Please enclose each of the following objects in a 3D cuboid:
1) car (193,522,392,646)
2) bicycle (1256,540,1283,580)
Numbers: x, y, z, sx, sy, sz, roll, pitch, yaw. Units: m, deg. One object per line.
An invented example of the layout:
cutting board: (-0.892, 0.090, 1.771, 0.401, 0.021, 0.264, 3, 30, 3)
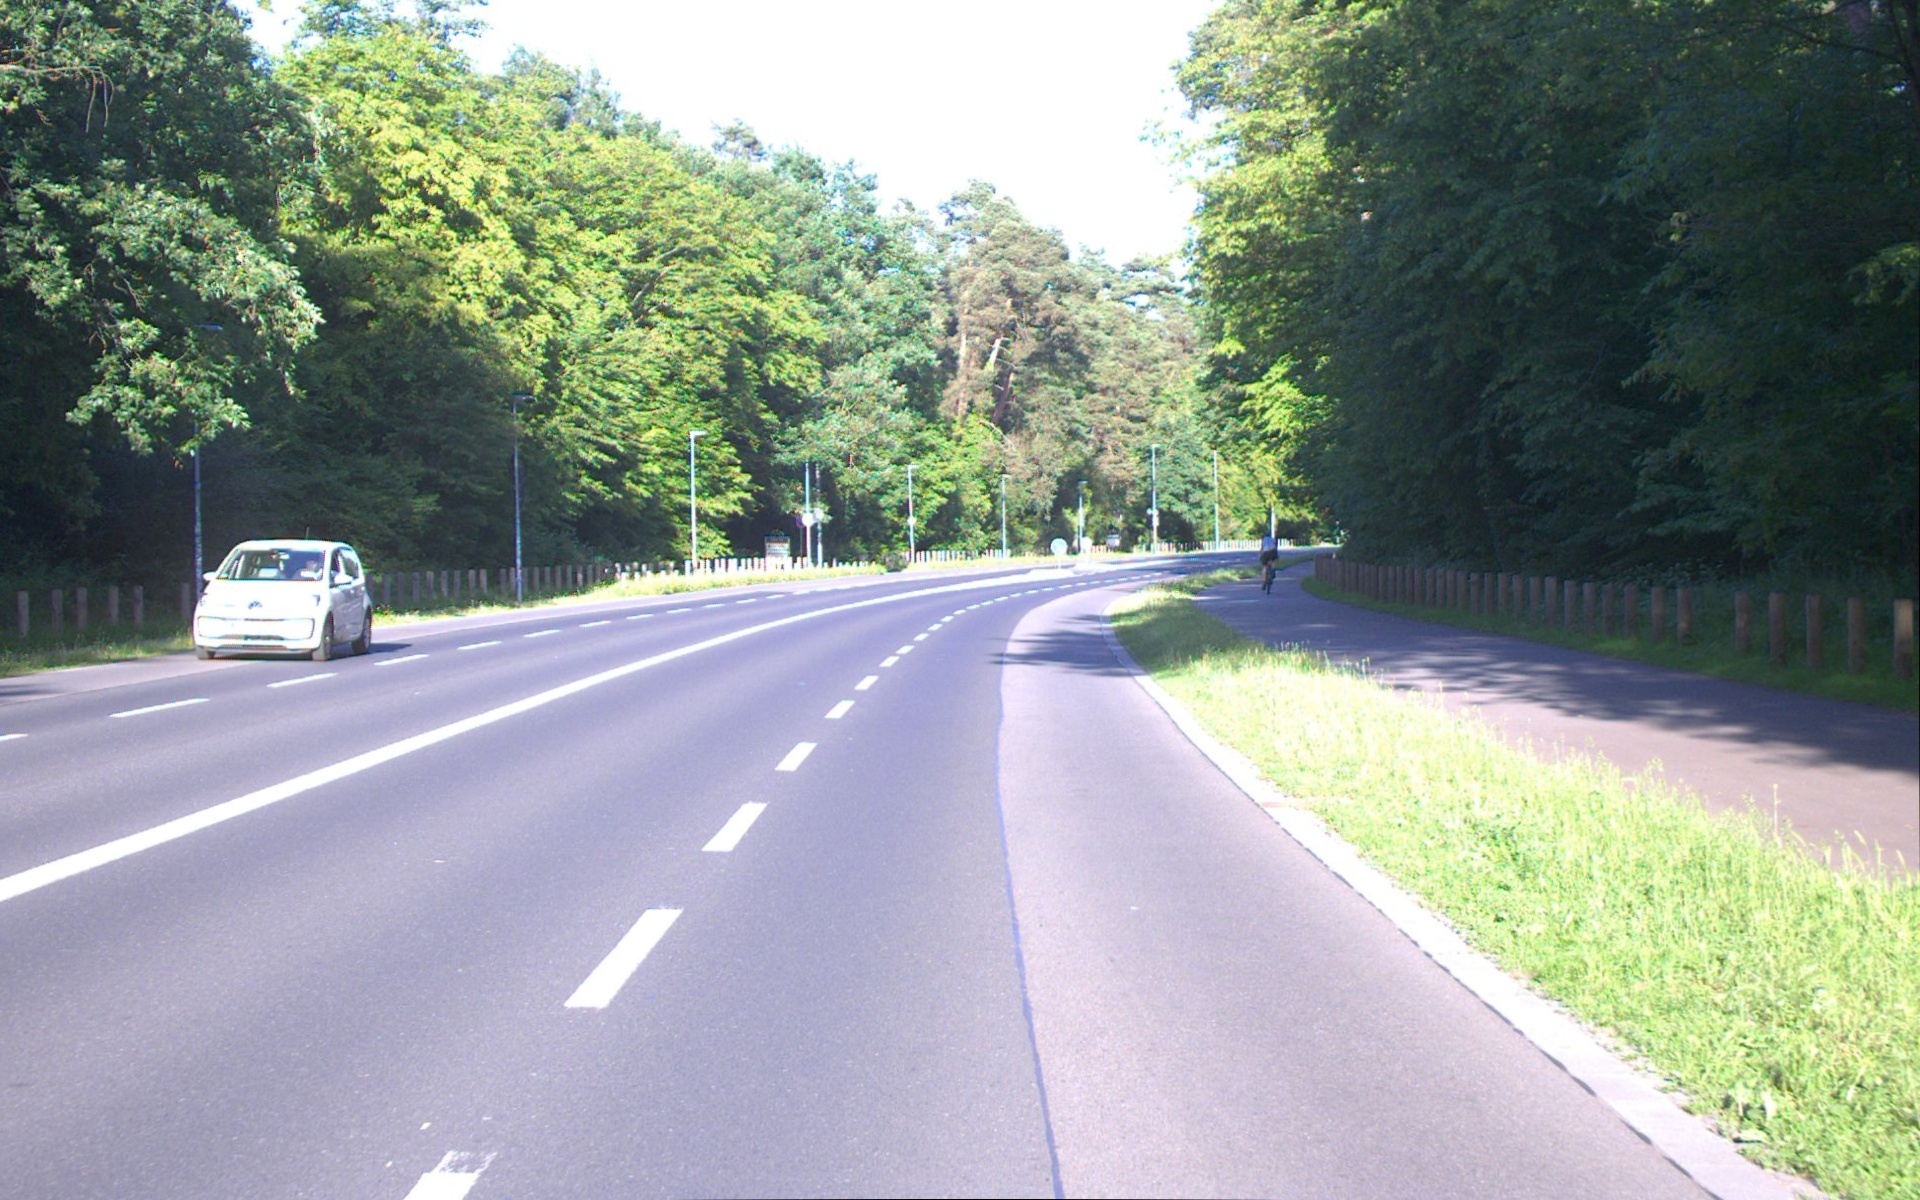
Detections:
car: (-8.386, -0.231, 43.524, 1.587, 1.432, 4.309, 2, 1, 1)
bicycle: (8.329, -1.091, 92.489, 0.712, 1.052, 2.052, 0, 1, 5)
